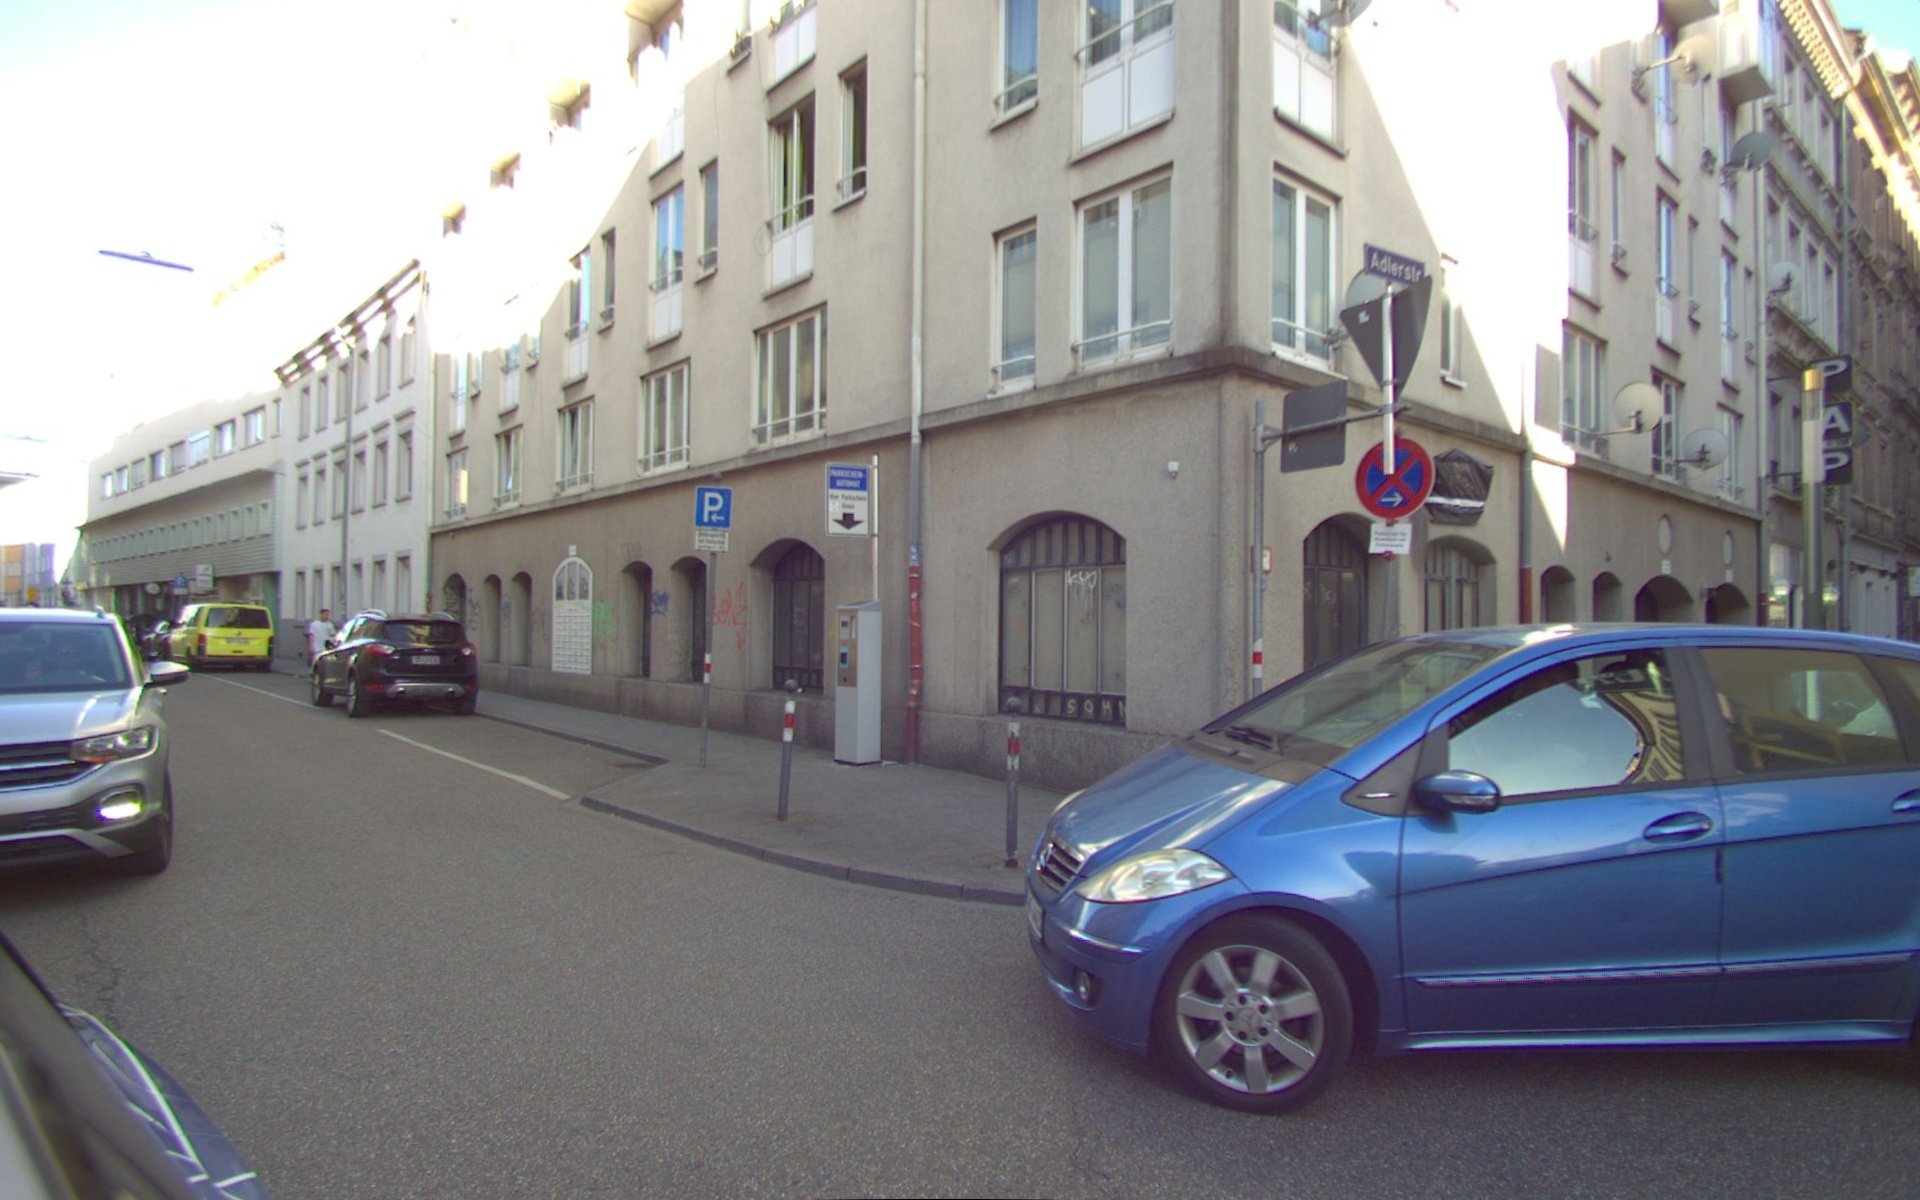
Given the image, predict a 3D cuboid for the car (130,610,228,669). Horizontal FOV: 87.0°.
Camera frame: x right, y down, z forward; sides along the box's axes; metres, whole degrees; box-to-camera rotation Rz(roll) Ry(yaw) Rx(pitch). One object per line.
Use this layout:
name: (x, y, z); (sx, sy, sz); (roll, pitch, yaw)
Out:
car: (-25.516, 1.283, 33.030); (4.001, 1.781, 1.862); (-1, -4, 44)

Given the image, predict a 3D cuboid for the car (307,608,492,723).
car: (-9.648, 1.080, 17.278); (1.860, 1.717, 4.005); (5, -4, -41)

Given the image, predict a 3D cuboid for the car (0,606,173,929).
car: (-6.125, 0.834, 6.225); (1.737, 1.558, 4.005); (1, -2, -42)

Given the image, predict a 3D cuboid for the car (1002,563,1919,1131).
car: (2.158, 0.746, 3.967); (3.748, 1.605, 1.859); (0, -3, -5)

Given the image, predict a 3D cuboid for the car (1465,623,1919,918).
car: (5.599, 1.010, 7.470); (3.904, 1.605, 1.747); (2, -1, -36)

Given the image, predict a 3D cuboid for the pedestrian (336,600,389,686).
pedestrian: (-14.374, 1.024, 24.348); (0.923, 2.029, 0.699); (2, -3, -44)

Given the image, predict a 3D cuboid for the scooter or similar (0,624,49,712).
scooter or similar: (-15.602, 1.102, 16.877); (0.542, 1.407, 1.557); (2, -3, -43)

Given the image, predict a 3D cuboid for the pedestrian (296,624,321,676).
pedestrian: (-18.674, 1.433, 29.005); (0.547, 1.459, 0.584); (2, -2, -33)

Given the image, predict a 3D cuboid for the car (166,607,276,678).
car: (-21.190, 1.149, 28.973); (4.001, 1.888, 1.862); (-1, -1, 44)

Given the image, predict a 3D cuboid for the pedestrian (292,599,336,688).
pedestrian: (-15.049, 1.004, 23.568); (0.705, 2.029, 0.699); (2, -3, -44)

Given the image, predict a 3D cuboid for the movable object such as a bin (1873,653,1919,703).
movable object such as a bin: (21.727, 1.790, 23.406); (0.743, 1.056, 0.838); (-1, 0, -44)

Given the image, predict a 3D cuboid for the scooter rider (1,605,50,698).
scooter rider: (-15.808, 0.852, 17.114); (0.583, 1.519, 0.600); (-1, 0, -43)
